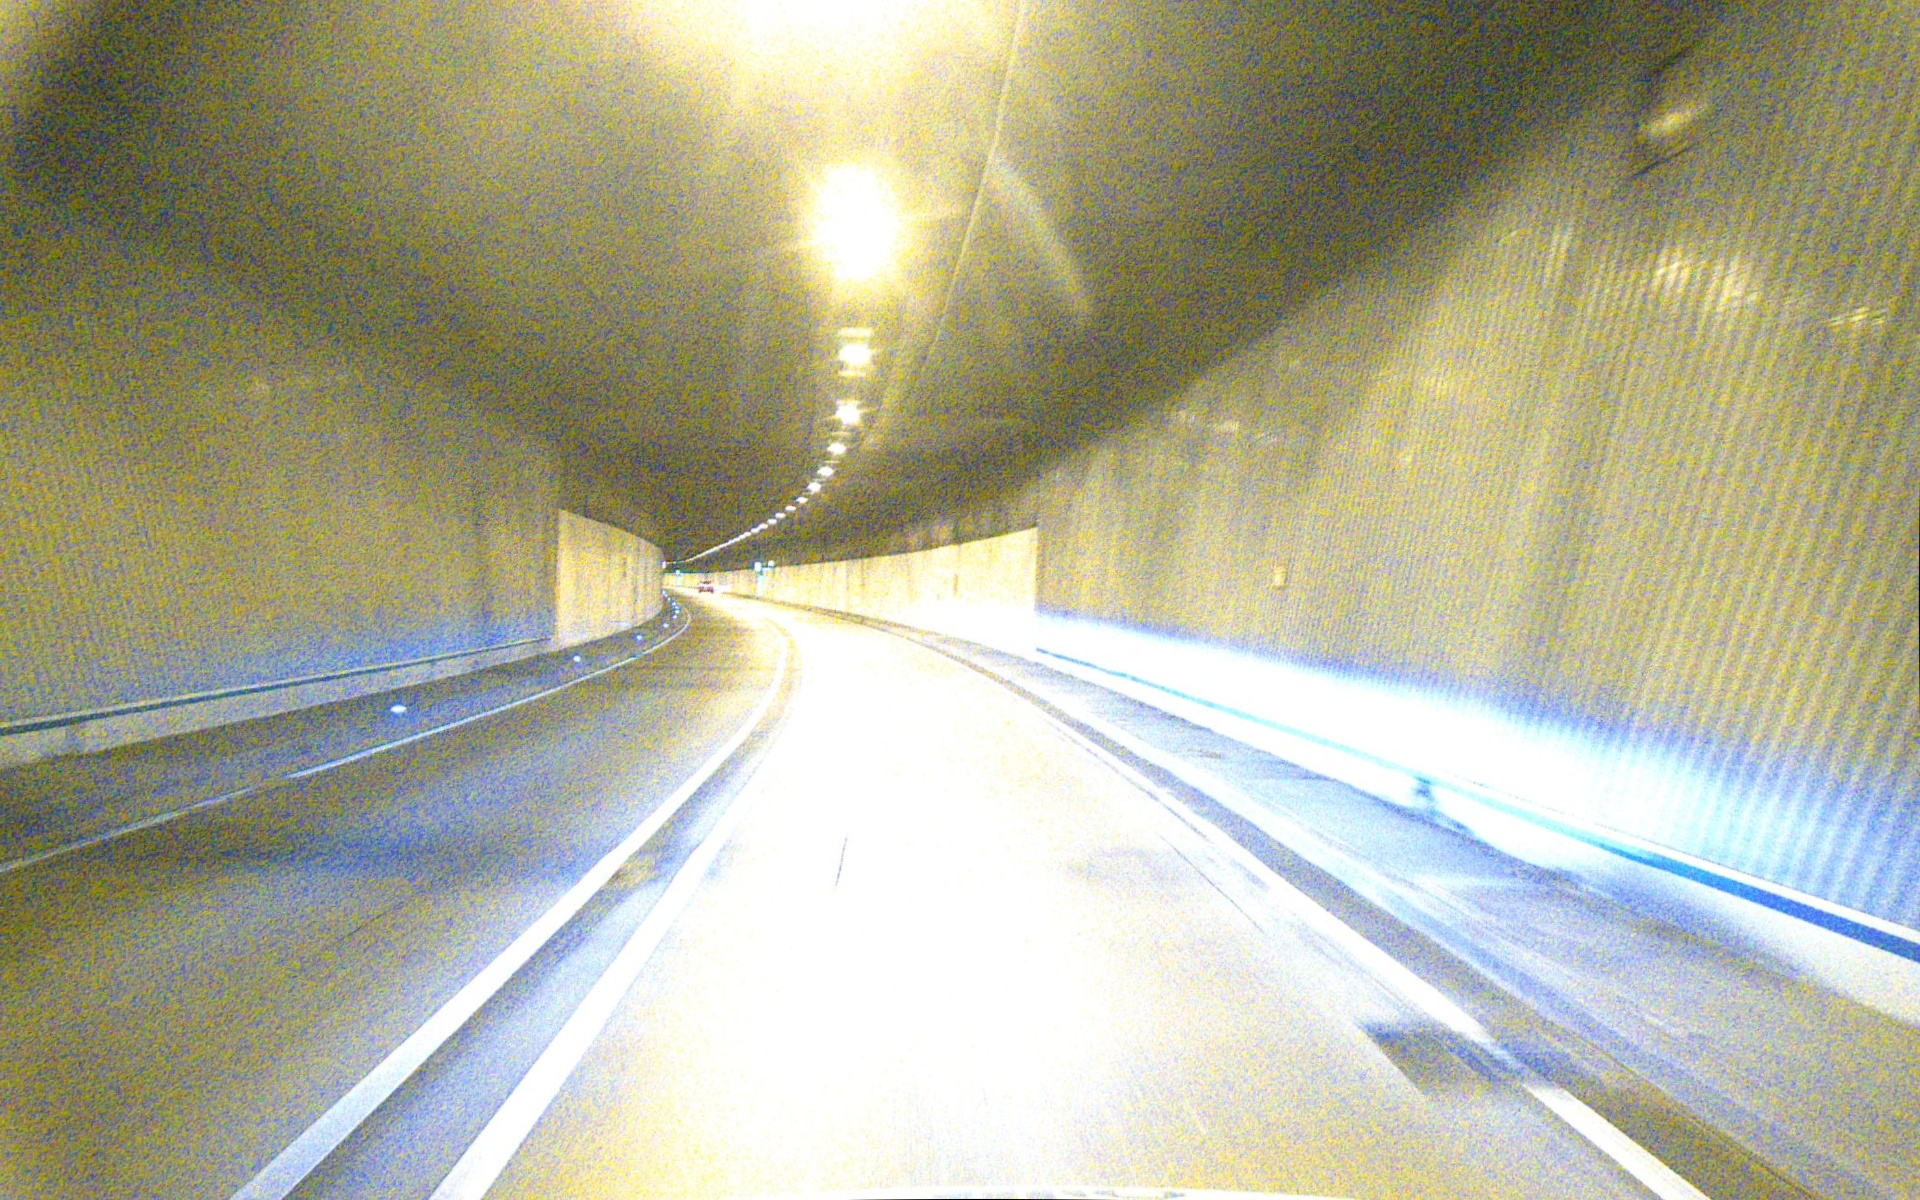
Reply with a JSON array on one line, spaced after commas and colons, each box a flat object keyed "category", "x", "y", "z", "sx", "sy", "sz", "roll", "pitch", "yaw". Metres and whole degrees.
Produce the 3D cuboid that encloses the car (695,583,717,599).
[{"category": "car", "x": -31.628, "y": -1.122, "z": 206.147, "sx": 1.936, "sy": 1.973, "sz": 4.589, "roll": 1, "pitch": 0, "yaw": -18}]
